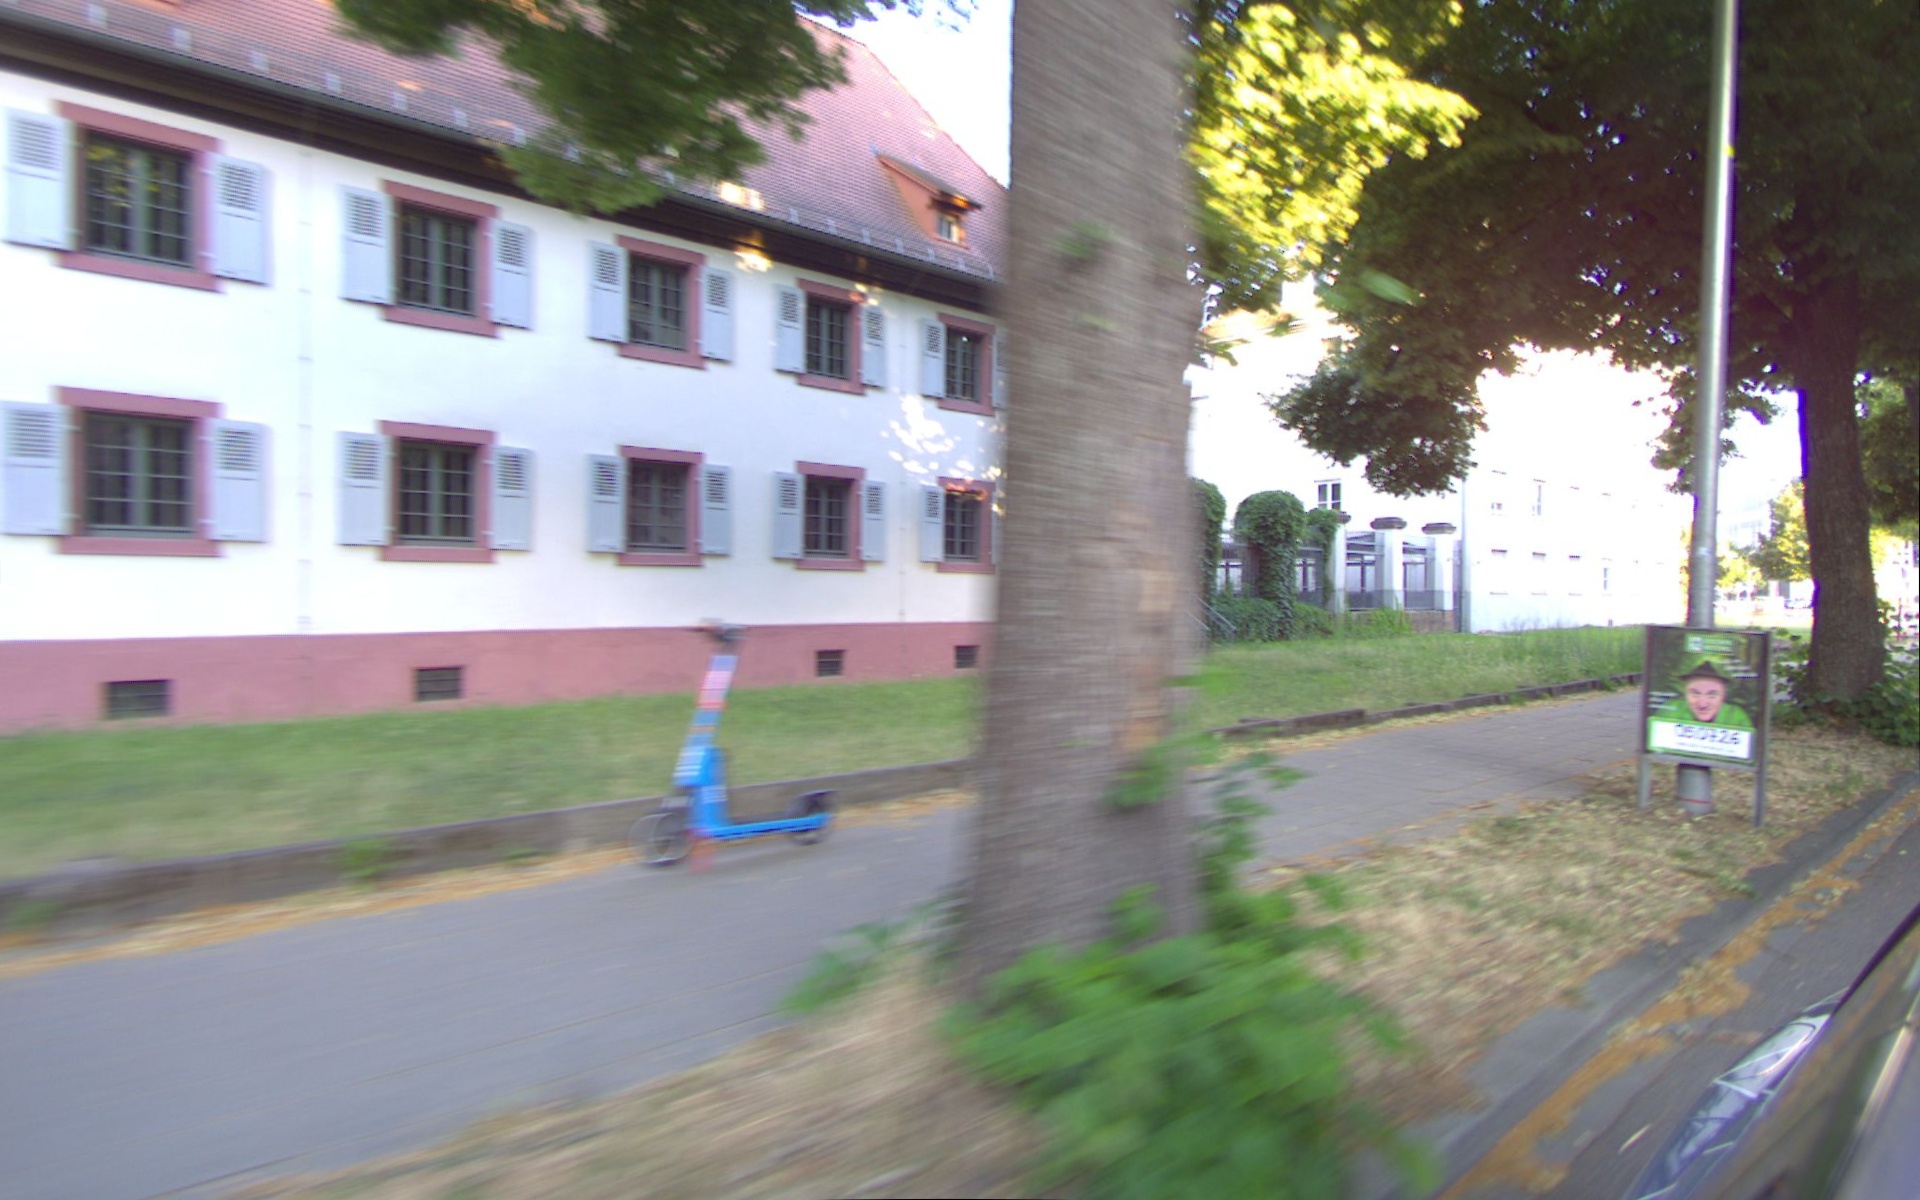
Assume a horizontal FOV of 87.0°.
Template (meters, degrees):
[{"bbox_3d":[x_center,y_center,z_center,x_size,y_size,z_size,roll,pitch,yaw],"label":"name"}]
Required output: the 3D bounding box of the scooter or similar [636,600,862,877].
[{"bbox_3d":[-1.075,0.661,5.347,0.239,1.292,1.247,1,1,45],"label":"scooter or similar"}]
